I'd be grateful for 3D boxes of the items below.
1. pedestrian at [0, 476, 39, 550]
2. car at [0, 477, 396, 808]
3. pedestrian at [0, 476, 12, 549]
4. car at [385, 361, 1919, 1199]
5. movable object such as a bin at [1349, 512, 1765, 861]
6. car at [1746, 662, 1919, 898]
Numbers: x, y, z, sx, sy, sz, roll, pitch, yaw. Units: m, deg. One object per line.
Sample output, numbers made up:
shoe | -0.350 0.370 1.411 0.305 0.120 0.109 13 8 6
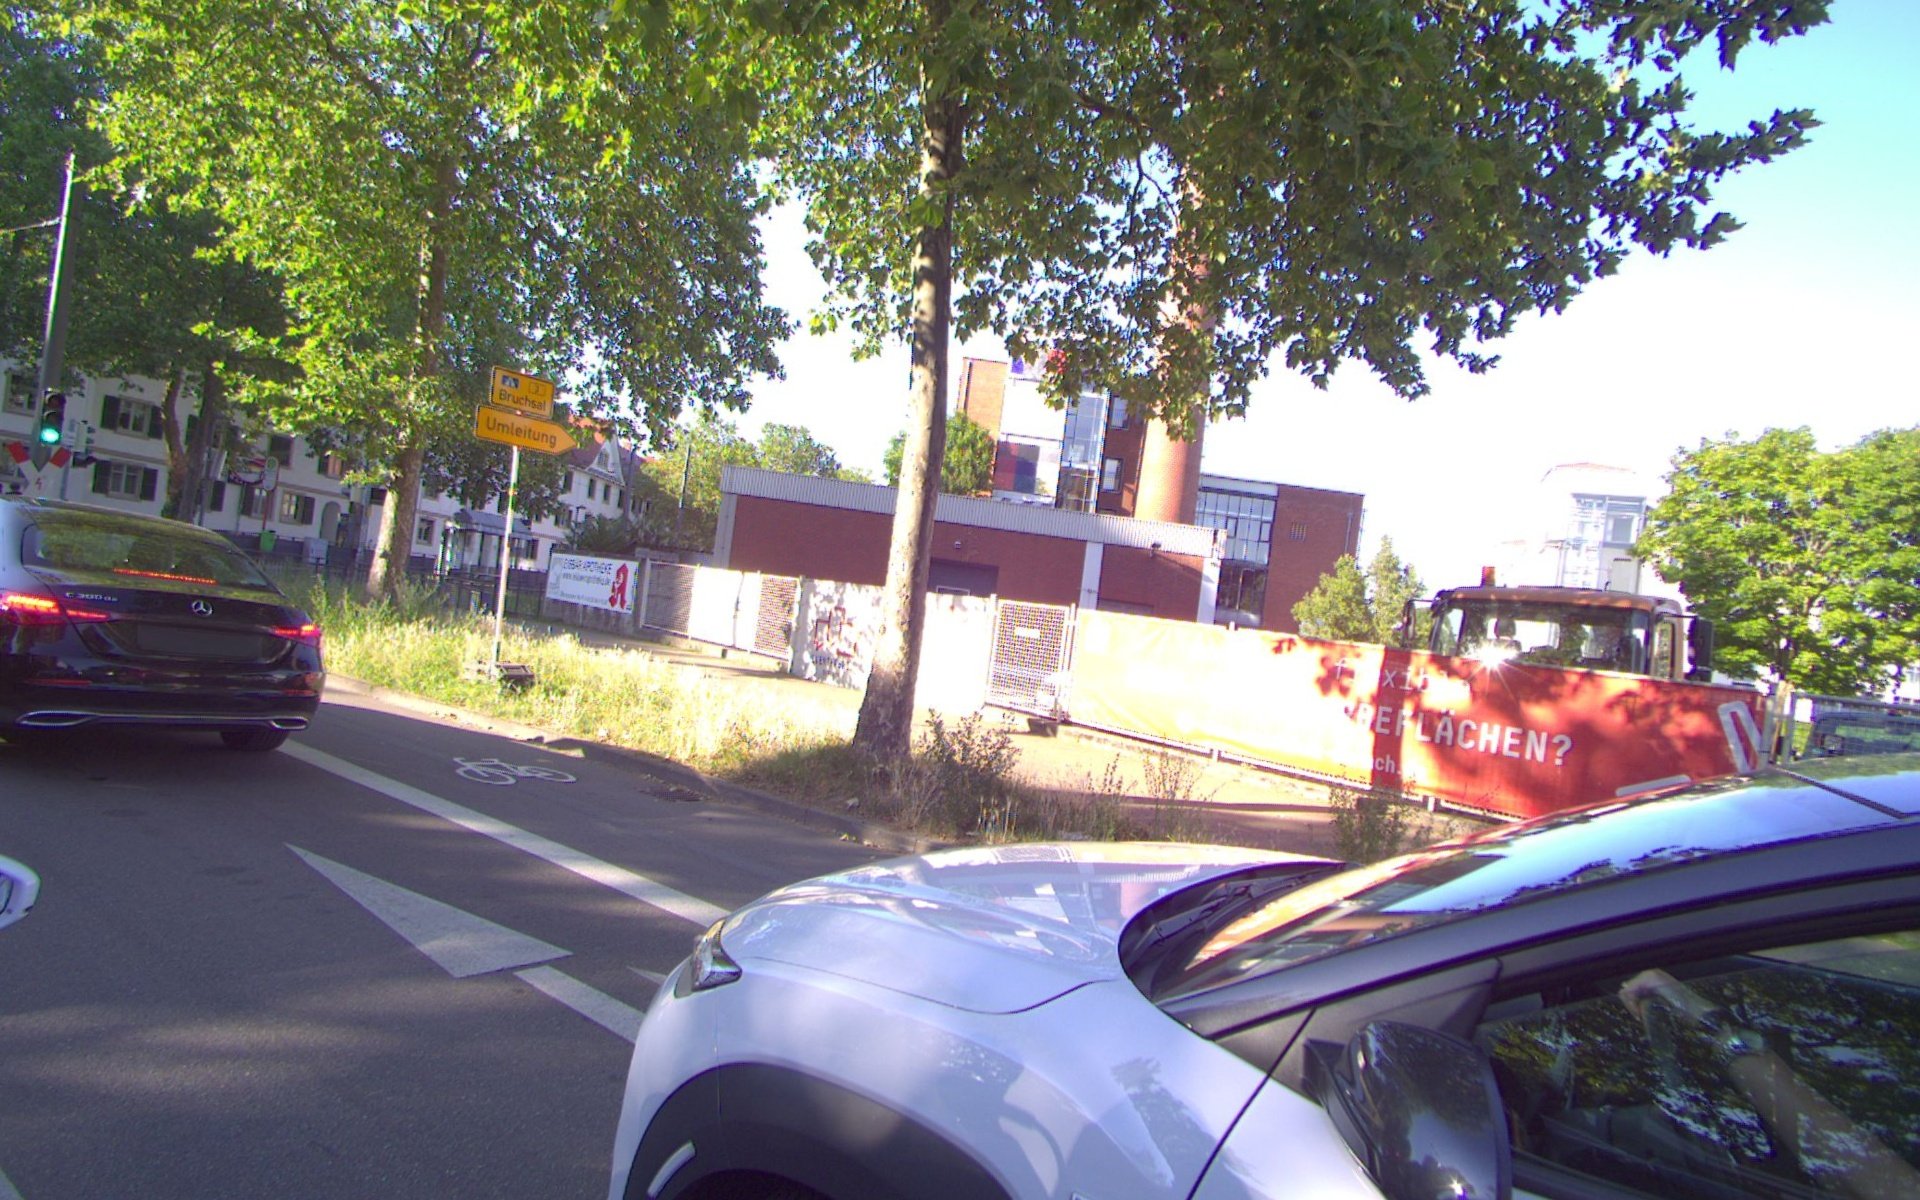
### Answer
pedestrian | -26.523 -2.433 28.132 0.825 1.940 0.707 7 -1 28
car | -5.955 0.049 6.646 4.308 1.508 1.893 9 -1 31
pedestrian | -26.120 -2.397 26.912 0.825 1.940 0.707 7 -1 28
car | 1.250 0.764 1.373 3.901 1.616 1.893 9 -1 33
movable object such as a bin | 7.643 1.034 12.408 3.172 3.084 6.266 6 -2 41
car | 9.572 1.824 10.151 2.016 1.849 4.583 6 -3 44
